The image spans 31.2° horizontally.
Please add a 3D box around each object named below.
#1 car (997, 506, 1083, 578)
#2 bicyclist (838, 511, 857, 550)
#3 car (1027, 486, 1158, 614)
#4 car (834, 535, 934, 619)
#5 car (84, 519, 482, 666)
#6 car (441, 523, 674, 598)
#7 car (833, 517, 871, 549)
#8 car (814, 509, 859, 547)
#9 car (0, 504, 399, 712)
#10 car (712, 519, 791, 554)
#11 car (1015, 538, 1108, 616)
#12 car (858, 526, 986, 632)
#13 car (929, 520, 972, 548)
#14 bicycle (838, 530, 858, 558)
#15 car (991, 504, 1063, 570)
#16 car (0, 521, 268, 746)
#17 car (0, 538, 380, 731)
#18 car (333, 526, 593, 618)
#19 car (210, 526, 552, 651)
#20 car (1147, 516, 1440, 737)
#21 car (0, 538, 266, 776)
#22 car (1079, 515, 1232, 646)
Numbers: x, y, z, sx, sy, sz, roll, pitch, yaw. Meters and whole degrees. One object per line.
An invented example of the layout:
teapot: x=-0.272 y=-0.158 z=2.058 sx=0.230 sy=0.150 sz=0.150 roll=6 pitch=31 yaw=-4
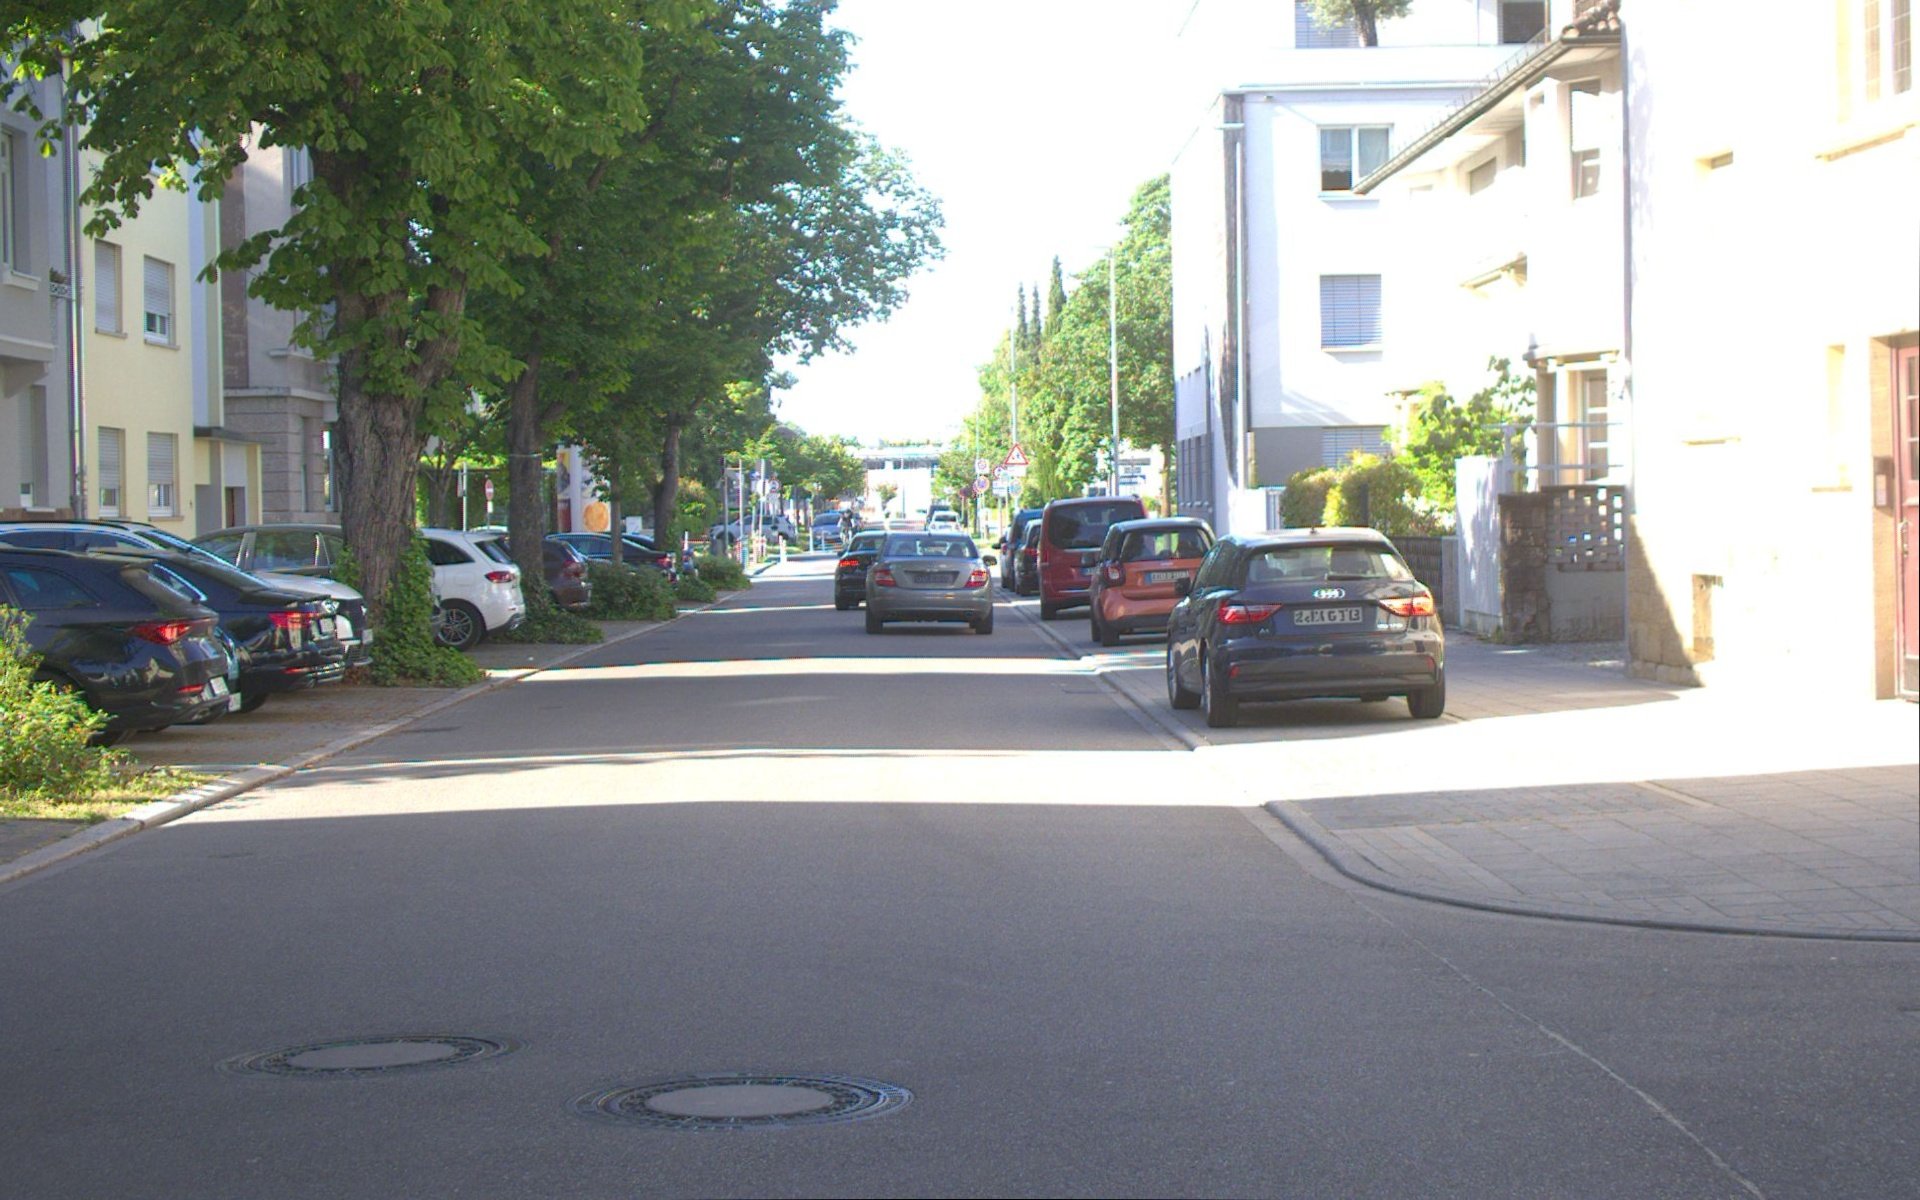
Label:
car: x=1.790 y=-1.290 z=77.681 sx=1.682 sy=1.430 sz=4.266 roll=-5 pitch=0 yaw=-1
bicyclist: x=-4.476 y=-2.763 z=136.791 sx=0.721 sy=1.531 sz=1.137 roll=-1 pitch=1 yaw=0
car: x=2.093 y=-0.812 z=55.426 sx=1.871 sy=1.898 sz=5.197 roll=-2 pitch=1 yaw=0
car: x=-1.341 y=-0.423 z=62.284 sx=1.707 sy=1.443 sz=4.203 roll=1 pitch=1 yaw=0
car: x=-7.478 y=-0.109 z=38.253 sx=3.987 sy=1.570 sz=1.980 roll=0 pitch=2 yaw=2
car: x=-7.988 y=-0.786 z=68.548 sx=4.473 sy=1.474 sz=1.869 roll=0 pitch=1 yaw=-2
car: x=-5.891 y=-3.661 z=187.500 sx=1.787 sy=1.527 sz=4.000 roll=-5 pitch=0 yaw=-4
car: x=-5.919 y=-3.463 z=164.584 sx=1.872 sy=1.722 sz=4.001 roll=-2 pitch=2 yaw=-5
car: x=-7.454 y=0.076 z=31.070 sx=4.386 sy=1.646 sz=1.823 roll=-2 pitch=3 yaw=1
car: x=-9.661 y=-2.944 z=159.122 sx=3.493 sy=1.528 sz=1.645 roll=-1 pitch=1 yaw=-7
car: x=2.101 y=-0.505 z=72.070 sx=1.737 sy=1.526 sz=4.179 roll=-1 pitch=1 yaw=-1
car: x=-0.506 y=-0.309 z=48.601 sx=1.726 sy=1.415 sz=3.960 roll=1 pitch=1 yaw=0
car: x=-0.457 y=-3.201 z=166.929 sx=1.722 sy=1.325 sz=4.001 roll=-1 pitch=1 yaw=-5
bicycle: x=-4.440 y=-2.217 z=136.744 sx=0.719 sy=1.075 sz=1.891 roll=-1 pitch=1 yaw=0
car: x=1.580 y=-1.494 z=82.295 sx=1.564 sy=1.406 sz=3.730 roll=-5 pitch=0 yaw=1
car: x=-7.383 y=0.254 z=25.839 sx=3.986 sy=1.587 sz=1.878 roll=-2 pitch=2 yaw=-2
car: x=-6.936 y=0.276 z=28.398 sx=3.987 sy=1.463 sz=1.697 roll=-2 pitch=2 yaw=-1
car: x=-8.032 y=-0.470 z=55.814 sx=3.986 sy=1.416 sz=1.771 roll=0 pitch=3 yaw=-1
car: x=-7.247 y=-0.166 z=43.311 sx=4.022 sy=1.479 sz=1.807 roll=1 pitch=2 yaw=-1
car: x=2.469 y=0.141 z=26.275 sx=1.619 sy=1.435 sz=3.935 roll=-4 pitch=2 yaw=-2
car: x=-6.963 y=0.390 z=23.175 sx=4.186 sy=1.493 sz=1.862 roll=-2 pitch=2 yaw=-2
car: x=2.393 y=-0.274 z=42.707 sx=1.592 sy=1.475 sz=3.247 roll=-3 pitch=2 yaw=-1
